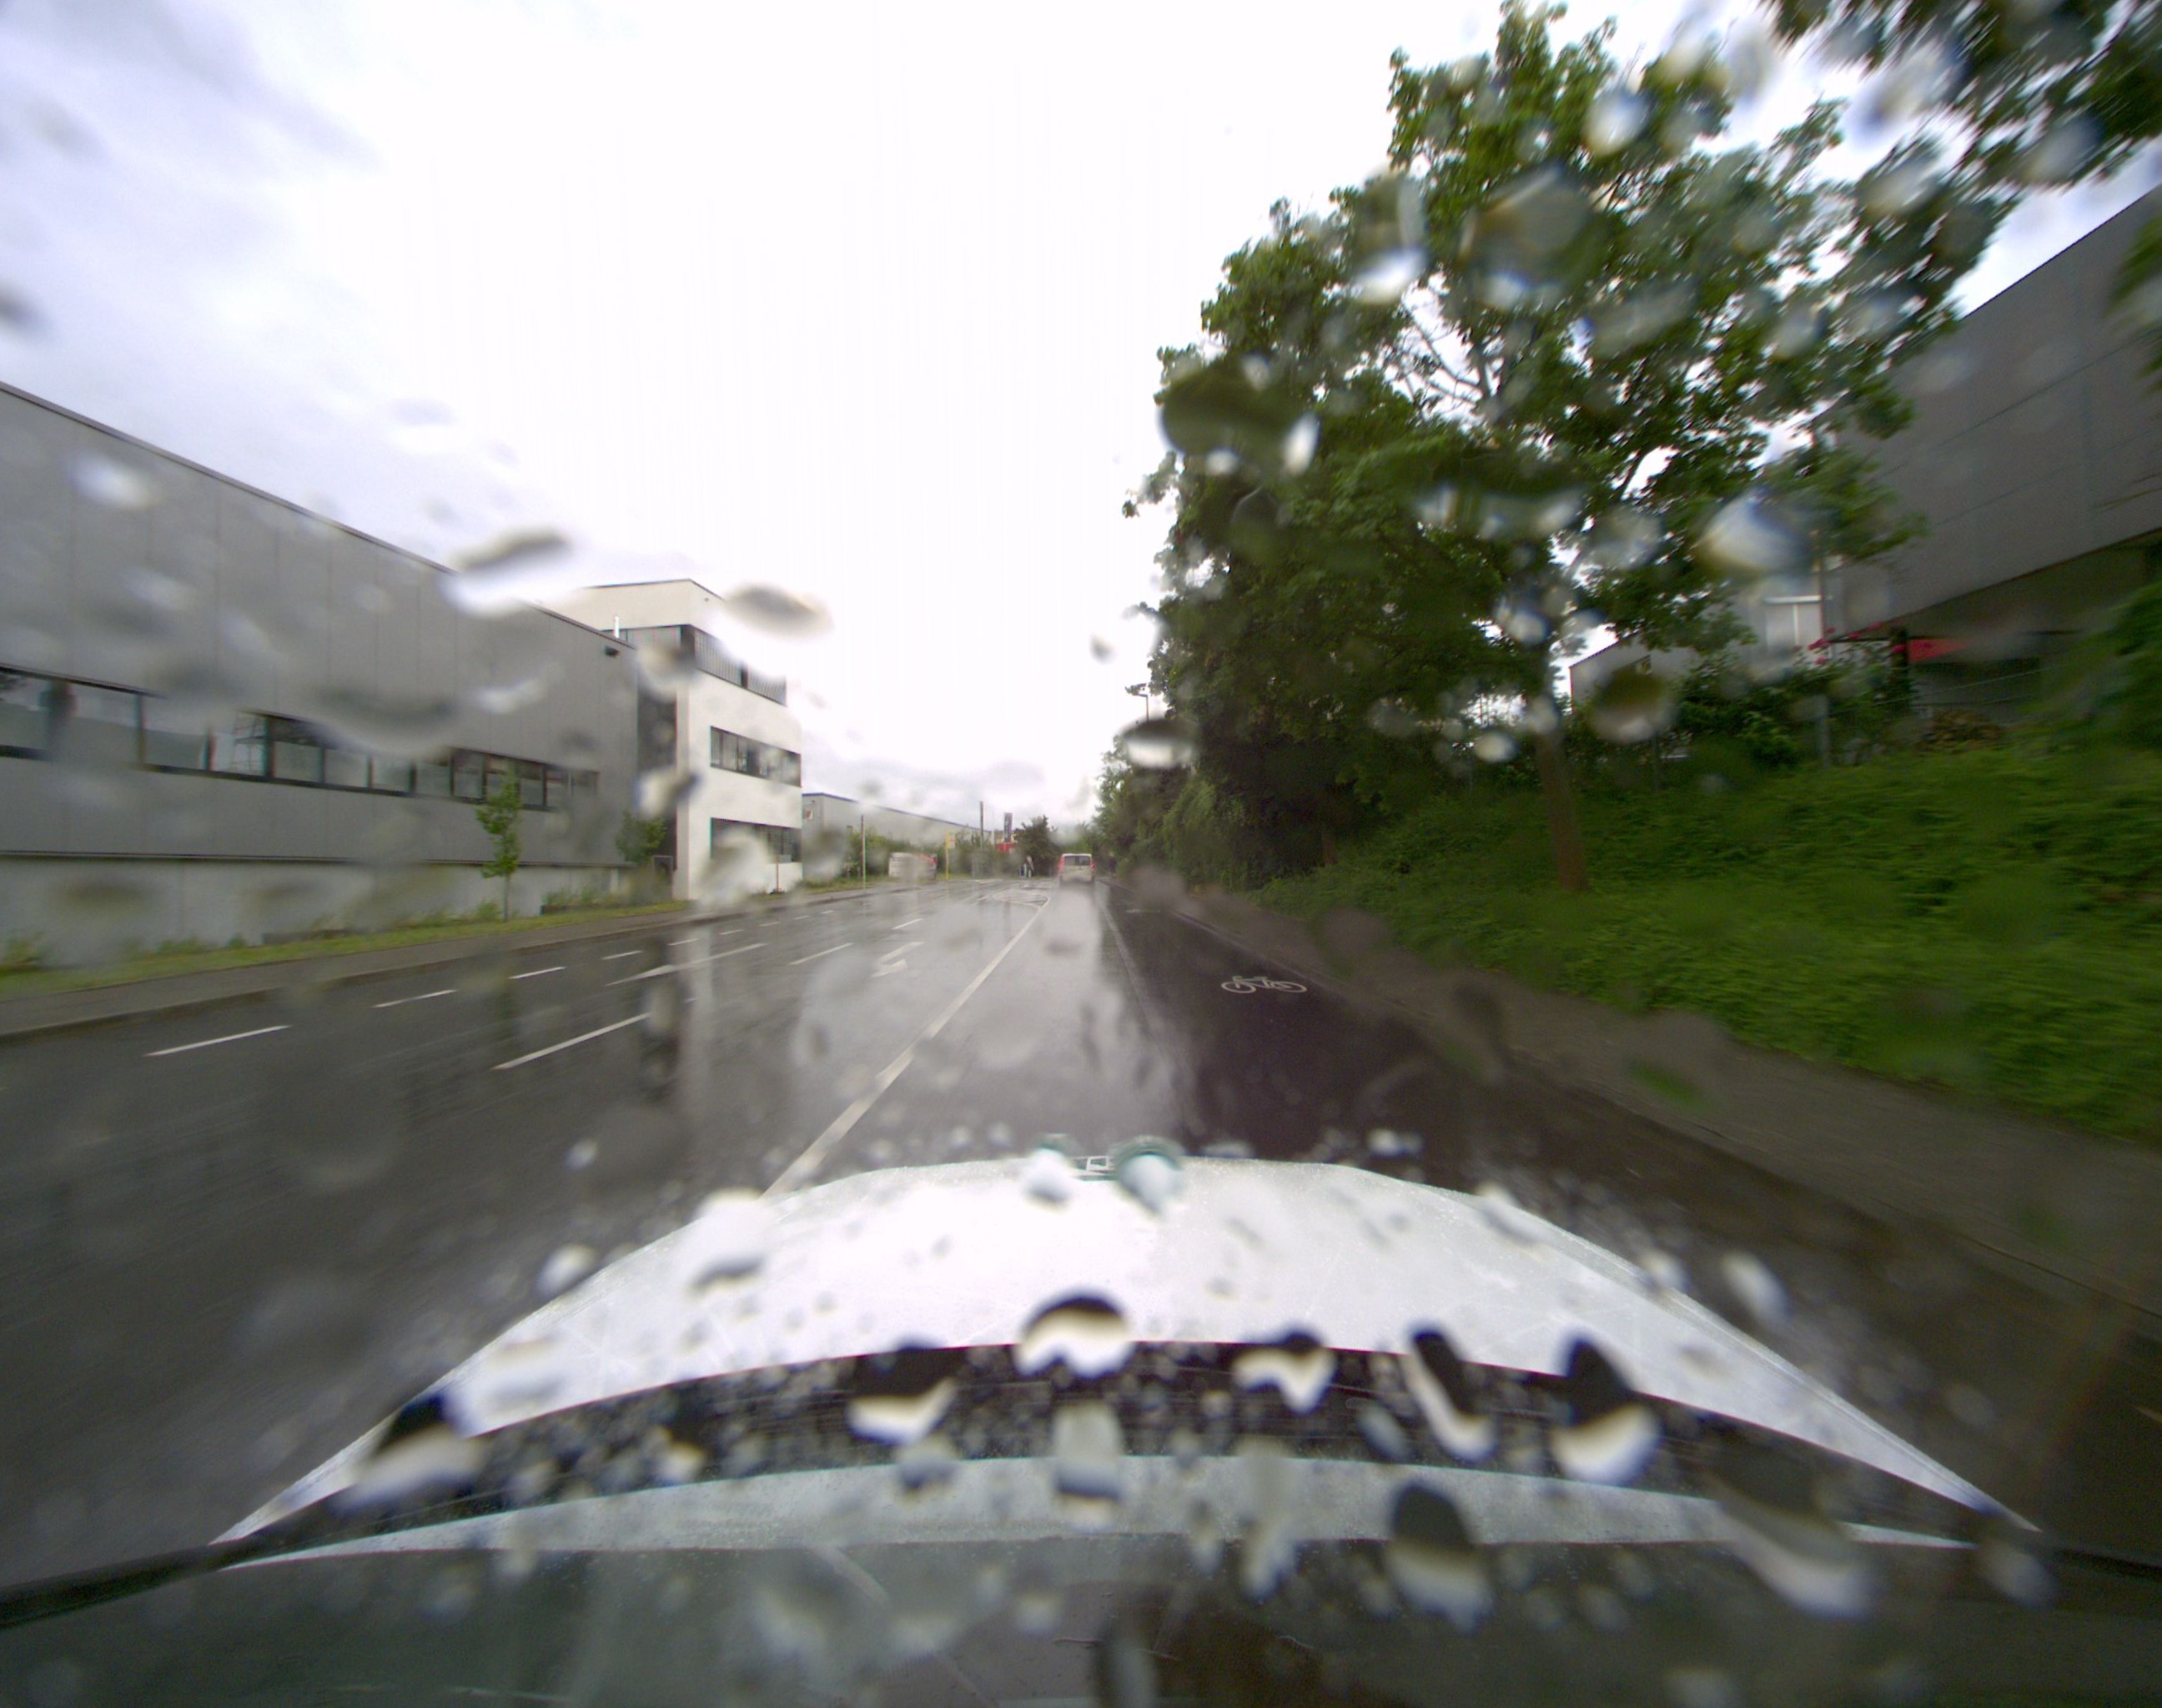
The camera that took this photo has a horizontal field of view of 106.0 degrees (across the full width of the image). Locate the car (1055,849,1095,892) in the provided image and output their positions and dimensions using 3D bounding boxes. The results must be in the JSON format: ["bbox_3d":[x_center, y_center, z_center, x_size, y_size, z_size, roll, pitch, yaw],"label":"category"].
[{"bbox_3d":[-0.291,0.870,44.014,1.893,2.018,5.371,-4,-1,0],"label":"car"}]

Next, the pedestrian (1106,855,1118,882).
[{"bbox_3d":[2.288,1.073,60.246,0.774,1.907,0.728,-4,-2,-2],"label":"pedestrian"}]
